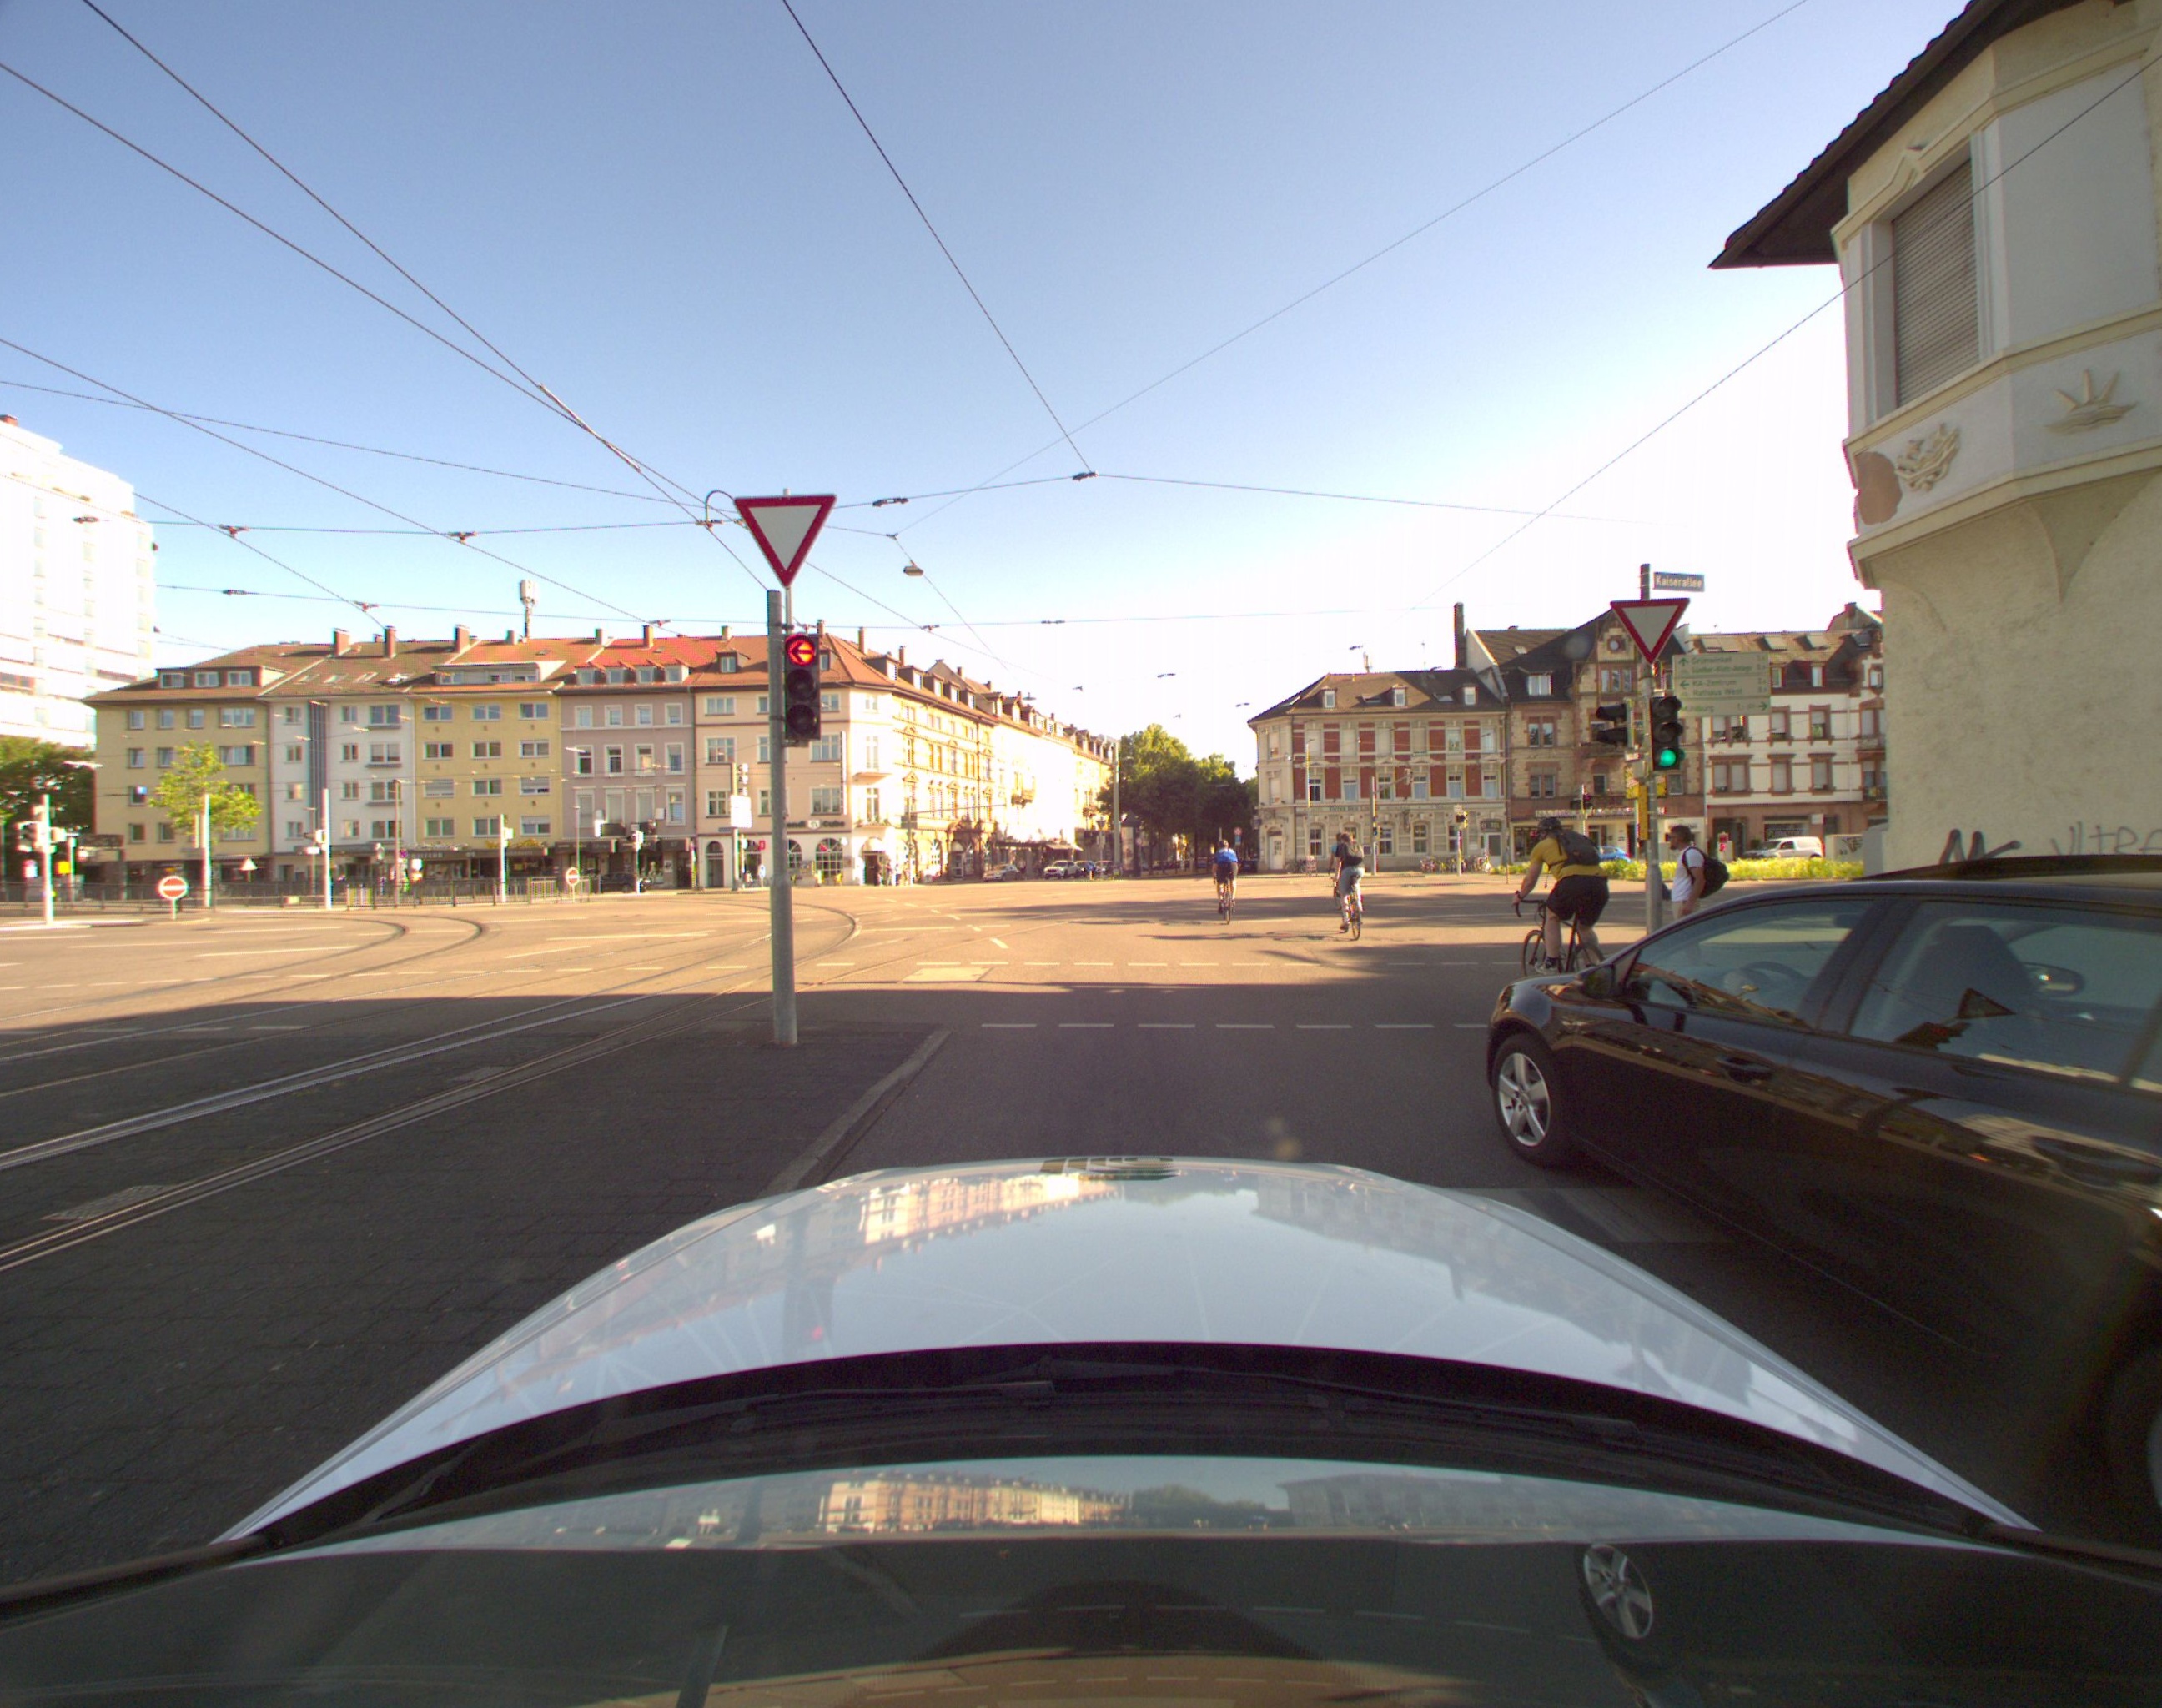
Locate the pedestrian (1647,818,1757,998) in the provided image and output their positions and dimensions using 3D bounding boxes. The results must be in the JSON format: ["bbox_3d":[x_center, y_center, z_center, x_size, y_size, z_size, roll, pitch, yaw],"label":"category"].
[{"bbox_3d":[6.434,0.541,8.444,0.589,1.756,0.635,-5,-1,-37],"label":"pedestrian"}]

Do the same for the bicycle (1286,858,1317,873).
[{"bbox_3d":[15.396,0.782,56.868,2.040,0.998,0.631,-1,-1,4],"label":"bicycle"}]

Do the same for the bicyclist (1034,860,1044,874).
[{"bbox_3d":[-3.681,1.137,70.828,0.626,1.185,0.689,-1,-1,23],"label":"bicyclist"}]

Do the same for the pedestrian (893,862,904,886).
[{"bbox_3d":[-12.640,1.392,56.367,0.631,1.634,0.700,0,-1,-2],"label":"pedestrian"}]

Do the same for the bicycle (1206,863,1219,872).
[{"bbox_3d":[15.994,1.650,98.864,0.630,1.085,1.687,0,-1,-28],"label":"bicycle"}]

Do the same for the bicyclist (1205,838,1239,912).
[{"bbox_3d":[2.929,0.417,17.009,0.635,1.494,0.885,0,1,6],"label":"bicyclist"}]

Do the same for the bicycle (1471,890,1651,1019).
[{"bbox_3d":[4.517,0.900,7.839,0.752,1.031,1.782,0,-1,3],"label":"bicycle"}]

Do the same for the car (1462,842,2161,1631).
[{"bbox_3d":[3.024,0.742,2.725,1.722,1.508,4.053,0,1,2],"label":"car"}]

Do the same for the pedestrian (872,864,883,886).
[{"bbox_3d":[-14.180,1.456,56.655,0.631,1.477,0.465,0,-1,-2],"label":"pedestrian"}]

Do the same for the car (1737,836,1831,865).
[{"bbox_3d":[45.308,-0.228,52.567,4.349,1.778,2.000,0,-1,1],"label":"car"}]

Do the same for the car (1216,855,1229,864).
[{"bbox_3d":[23.288,0.919,134.349,1.546,1.513,3.673,-1,-1,19],"label":"car"}]

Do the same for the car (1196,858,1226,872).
[{"bbox_3d":[18.339,1.564,114.724,3.955,1.904,2.009,-1,-1,17],"label":"car"}]

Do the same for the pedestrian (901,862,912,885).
[{"bbox_3d":[-12.376,1.371,57.693,0.631,1.634,0.700,0,-1,-2],"label":"pedestrian"}]

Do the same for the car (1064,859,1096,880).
[{"bbox_3d":[-0.065,1.369,73.761,1.979,1.904,4.015,-1,-1,14],"label":"car"}]

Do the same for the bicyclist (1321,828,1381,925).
[{"bbox_3d":[4.627,0.382,14.004,0.801,1.606,0.885,0,-1,7],"label":"bicyclist"}]

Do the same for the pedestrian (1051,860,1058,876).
[{"bbox_3d":[-2.831,1.491,86.711,0.539,1.631,0.709,-1,-1,15],"label":"pedestrian"}]

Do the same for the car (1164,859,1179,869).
[{"bbox_3d":[14.663,1.614,131.778,1.546,1.513,3.673,-1,-1,19],"label":"car"}]

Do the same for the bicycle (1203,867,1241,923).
[{"bbox_3d":[2.939,0.833,17.062,0.623,1.085,1.705,0,-1,5],"label":"bicycle"}]

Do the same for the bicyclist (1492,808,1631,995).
[{"bbox_3d":[4.512,0.431,7.715,0.802,1.663,0.884,0,-1,2],"label":"bicyclist"}]

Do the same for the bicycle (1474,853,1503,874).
[{"bbox_3d":[26.194,0.614,52.354,0.626,1.287,2.663,0,-1,3],"label":"bicycle"}]

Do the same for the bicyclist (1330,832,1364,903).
[{"bbox_3d":[6.235,0.315,19.141,0.684,1.633,0.887,-1,-1,14],"label":"bicyclist"}]

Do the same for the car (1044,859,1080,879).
[{"bbox_3d":[-1.574,1.198,67.647,1.979,1.618,4.015,-1,-1,14],"label":"car"}]

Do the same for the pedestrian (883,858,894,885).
[{"bbox_3d":[-13.608,1.260,57.611,0.631,1.881,0.465,0,-1,-2],"label":"pedestrian"}]

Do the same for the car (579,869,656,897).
[{"bbox_3d":[-30.592,1.916,53.819,3.962,1.670,2.006,-2,0,10],"label":"car"}]

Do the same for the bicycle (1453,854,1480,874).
[{"bbox_3d":[24.771,0.626,52.387,0.626,1.287,2.663,0,-1,3],"label":"bicycle"}]

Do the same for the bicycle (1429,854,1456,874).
[{"bbox_3d":[23.258,0.628,52.422,0.689,1.287,2.663,0,-1,3],"label":"bicycle"}]

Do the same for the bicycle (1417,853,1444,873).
[{"bbox_3d":[22.507,0.562,52.476,0.689,1.287,2.663,0,-1,3],"label":"bicycle"}]

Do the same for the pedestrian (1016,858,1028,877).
[{"bbox_3d":[-4.762,1.104,65.491,0.814,1.512,0.601,-1,-1,16],"label":"pedestrian"}]

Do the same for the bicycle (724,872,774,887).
[{"bbox_3d":[-23.428,1.788,57.467,3.118,0.980,1.002,0,-1,1],"label":"bicycle"}]

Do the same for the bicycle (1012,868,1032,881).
[{"bbox_3d":[-4.734,1.634,65.559,0.756,1.008,2.406,-1,-1,16],"label":"bicycle"}]

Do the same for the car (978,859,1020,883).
[{"bbox_3d":[-6.745,1.367,67.464,1.977,1.904,4.019,-1,-1,19],"label":"car"}]

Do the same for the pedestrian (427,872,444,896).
[{"bbox_3d":[-45.364,2.120,57.252,0.631,1.634,0.700,0,-1,-2],"label":"pedestrian"}]

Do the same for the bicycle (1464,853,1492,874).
[{"bbox_3d":[25.499,0.610,52.383,0.626,1.287,2.663,0,-1,3],"label":"bicycle"}]

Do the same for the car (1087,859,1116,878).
[{"bbox_3d":[2.064,1.403,79.920,1.979,1.904,4.015,-1,-1,14],"label":"car"}]

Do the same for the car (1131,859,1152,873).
[{"bbox_3d":[8.398,1.621,112.693,1.977,1.904,4.019,-1,-1,19],"label":"car"}]

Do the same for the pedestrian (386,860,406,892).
[{"bbox_3d":[-35.016,1.104,41.615,0.523,1.628,0.577,0,-1,0],"label":"pedestrian"}]

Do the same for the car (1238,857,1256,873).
[{"bbox_3d":[16.817,1.115,82.363,1.680,1.565,3.855,-1,-1,14],"label":"car"}]

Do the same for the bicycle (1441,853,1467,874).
[{"bbox_3d":[23.981,0.614,52.415,0.626,1.287,2.663,0,-1,3],"label":"bicycle"}]

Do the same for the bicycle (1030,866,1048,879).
[{"bbox_3d":[-3.635,1.594,70.933,0.644,1.123,2.265,-1,-1,23],"label":"bicycle"}]

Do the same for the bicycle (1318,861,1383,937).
[{"bbox_3d":[4.649,0.735,14.141,0.751,1.236,1.706,0,-1,7],"label":"bicycle"}]

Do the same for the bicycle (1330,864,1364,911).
[{"bbox_3d":[6.258,0.763,19.233,0.644,1.031,1.778,-1,-1,15],"label":"bicycle"}]

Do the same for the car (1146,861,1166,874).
[{"bbox_3d":[11.291,2.075,122.601,1.977,1.904,4.019,-1,-1,19],"label":"car"}]

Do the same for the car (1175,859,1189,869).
[{"bbox_3d":[16.834,1.675,135.847,1.546,1.513,3.673,-1,-1,19],"label":"car"}]

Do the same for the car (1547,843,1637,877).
[{"bbox_3d":[28.274,0.329,45.138,3.769,1.778,2.000,0,-1,1],"label":"car"}]
